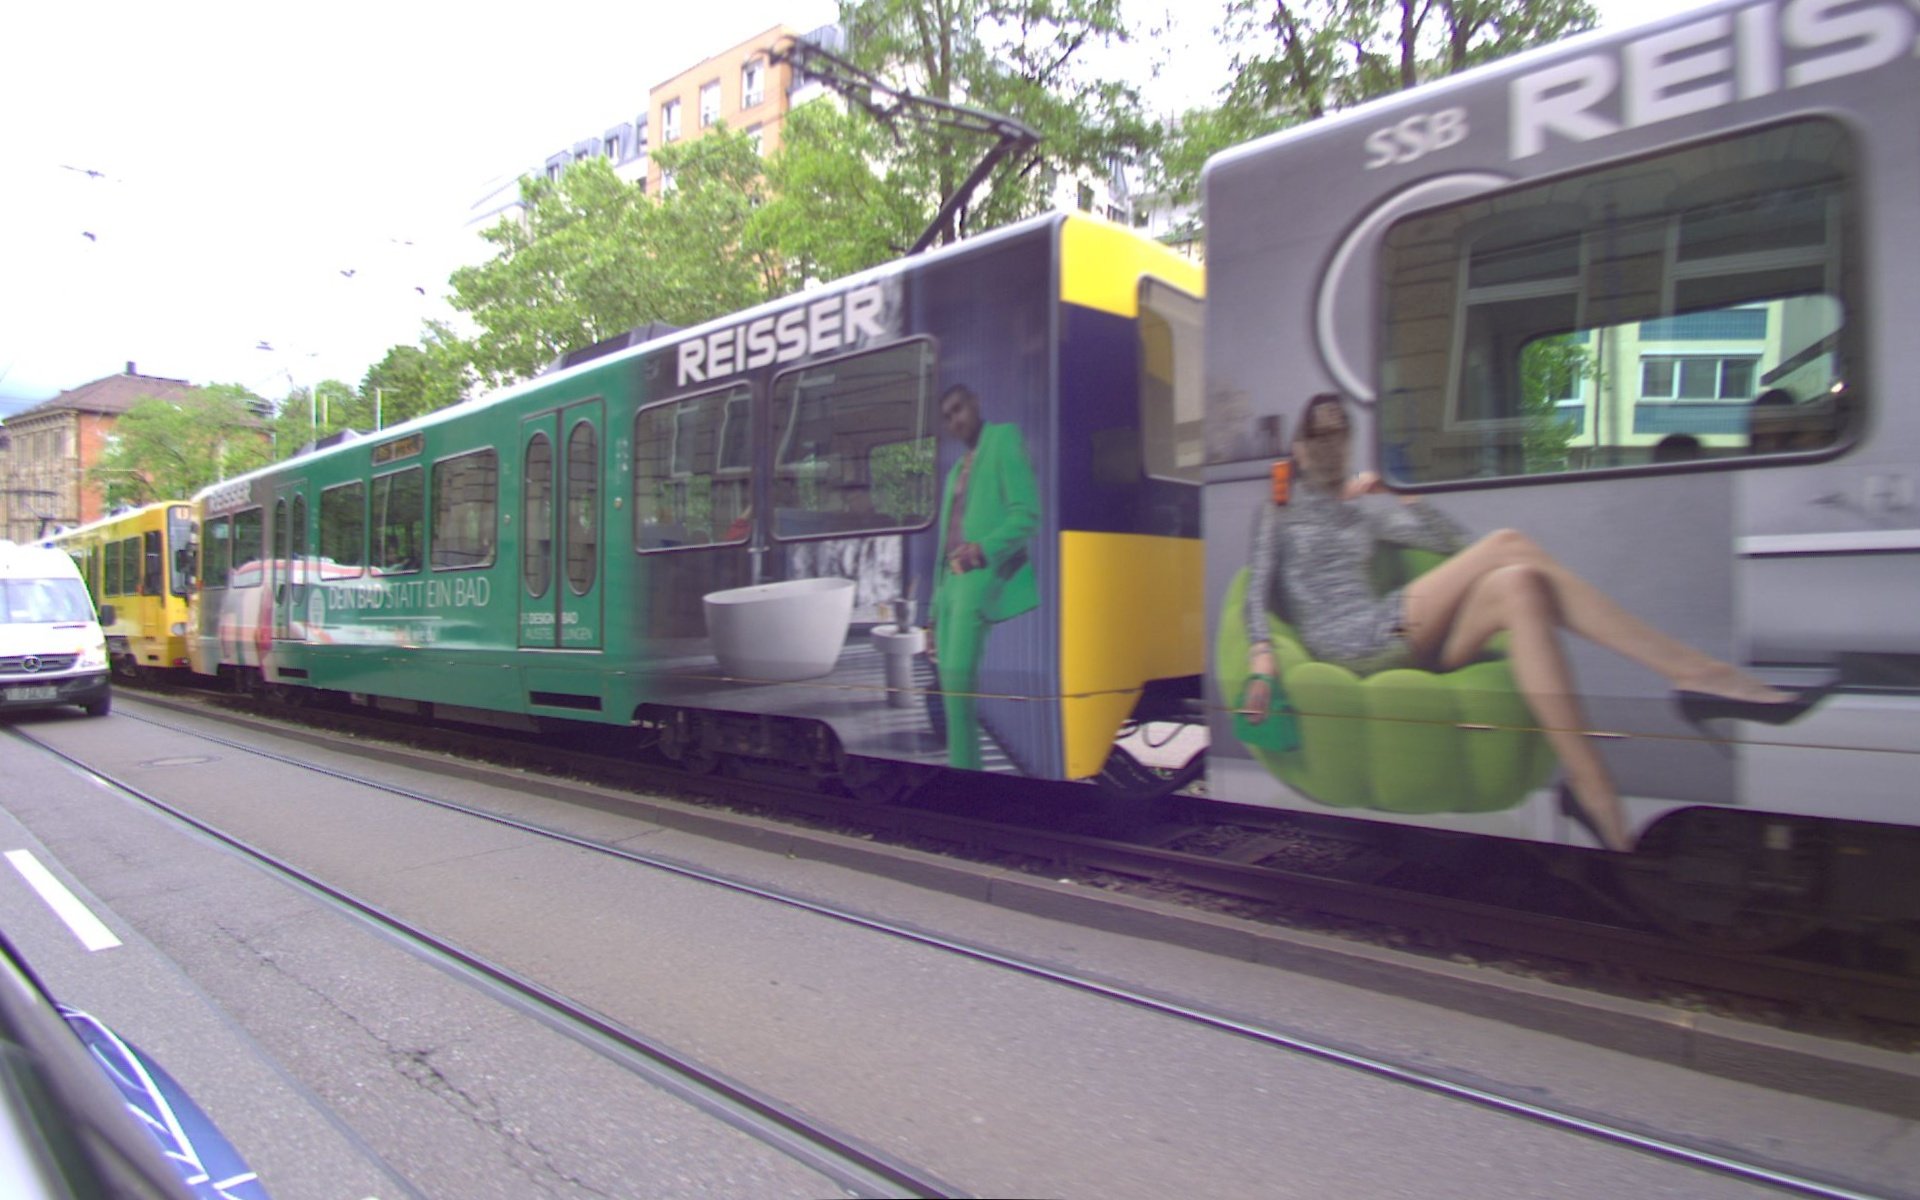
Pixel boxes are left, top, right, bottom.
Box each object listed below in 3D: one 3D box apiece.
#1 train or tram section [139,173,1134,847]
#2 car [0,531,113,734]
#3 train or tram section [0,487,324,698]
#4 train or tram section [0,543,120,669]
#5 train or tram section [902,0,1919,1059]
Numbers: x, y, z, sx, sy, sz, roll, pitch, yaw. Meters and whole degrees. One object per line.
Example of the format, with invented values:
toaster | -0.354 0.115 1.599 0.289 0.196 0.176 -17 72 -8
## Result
train or tram section | -6.655 -0.360 12.937 18.748 3.753 2.846 -2 1 42
car | -15.068 0.509 15.615 5.848 2.720 2.013 -2 -1 39
train or tram section | -20.782 0.006 25.242 18.690 3.753 2.847 -2 1 41
train or tram section | -33.711 0.296 35.783 14.832 3.753 2.856 -2 1 38
train or tram section | 7.742 -0.731 0.321 18.745 3.753 2.847 -2 1 41
